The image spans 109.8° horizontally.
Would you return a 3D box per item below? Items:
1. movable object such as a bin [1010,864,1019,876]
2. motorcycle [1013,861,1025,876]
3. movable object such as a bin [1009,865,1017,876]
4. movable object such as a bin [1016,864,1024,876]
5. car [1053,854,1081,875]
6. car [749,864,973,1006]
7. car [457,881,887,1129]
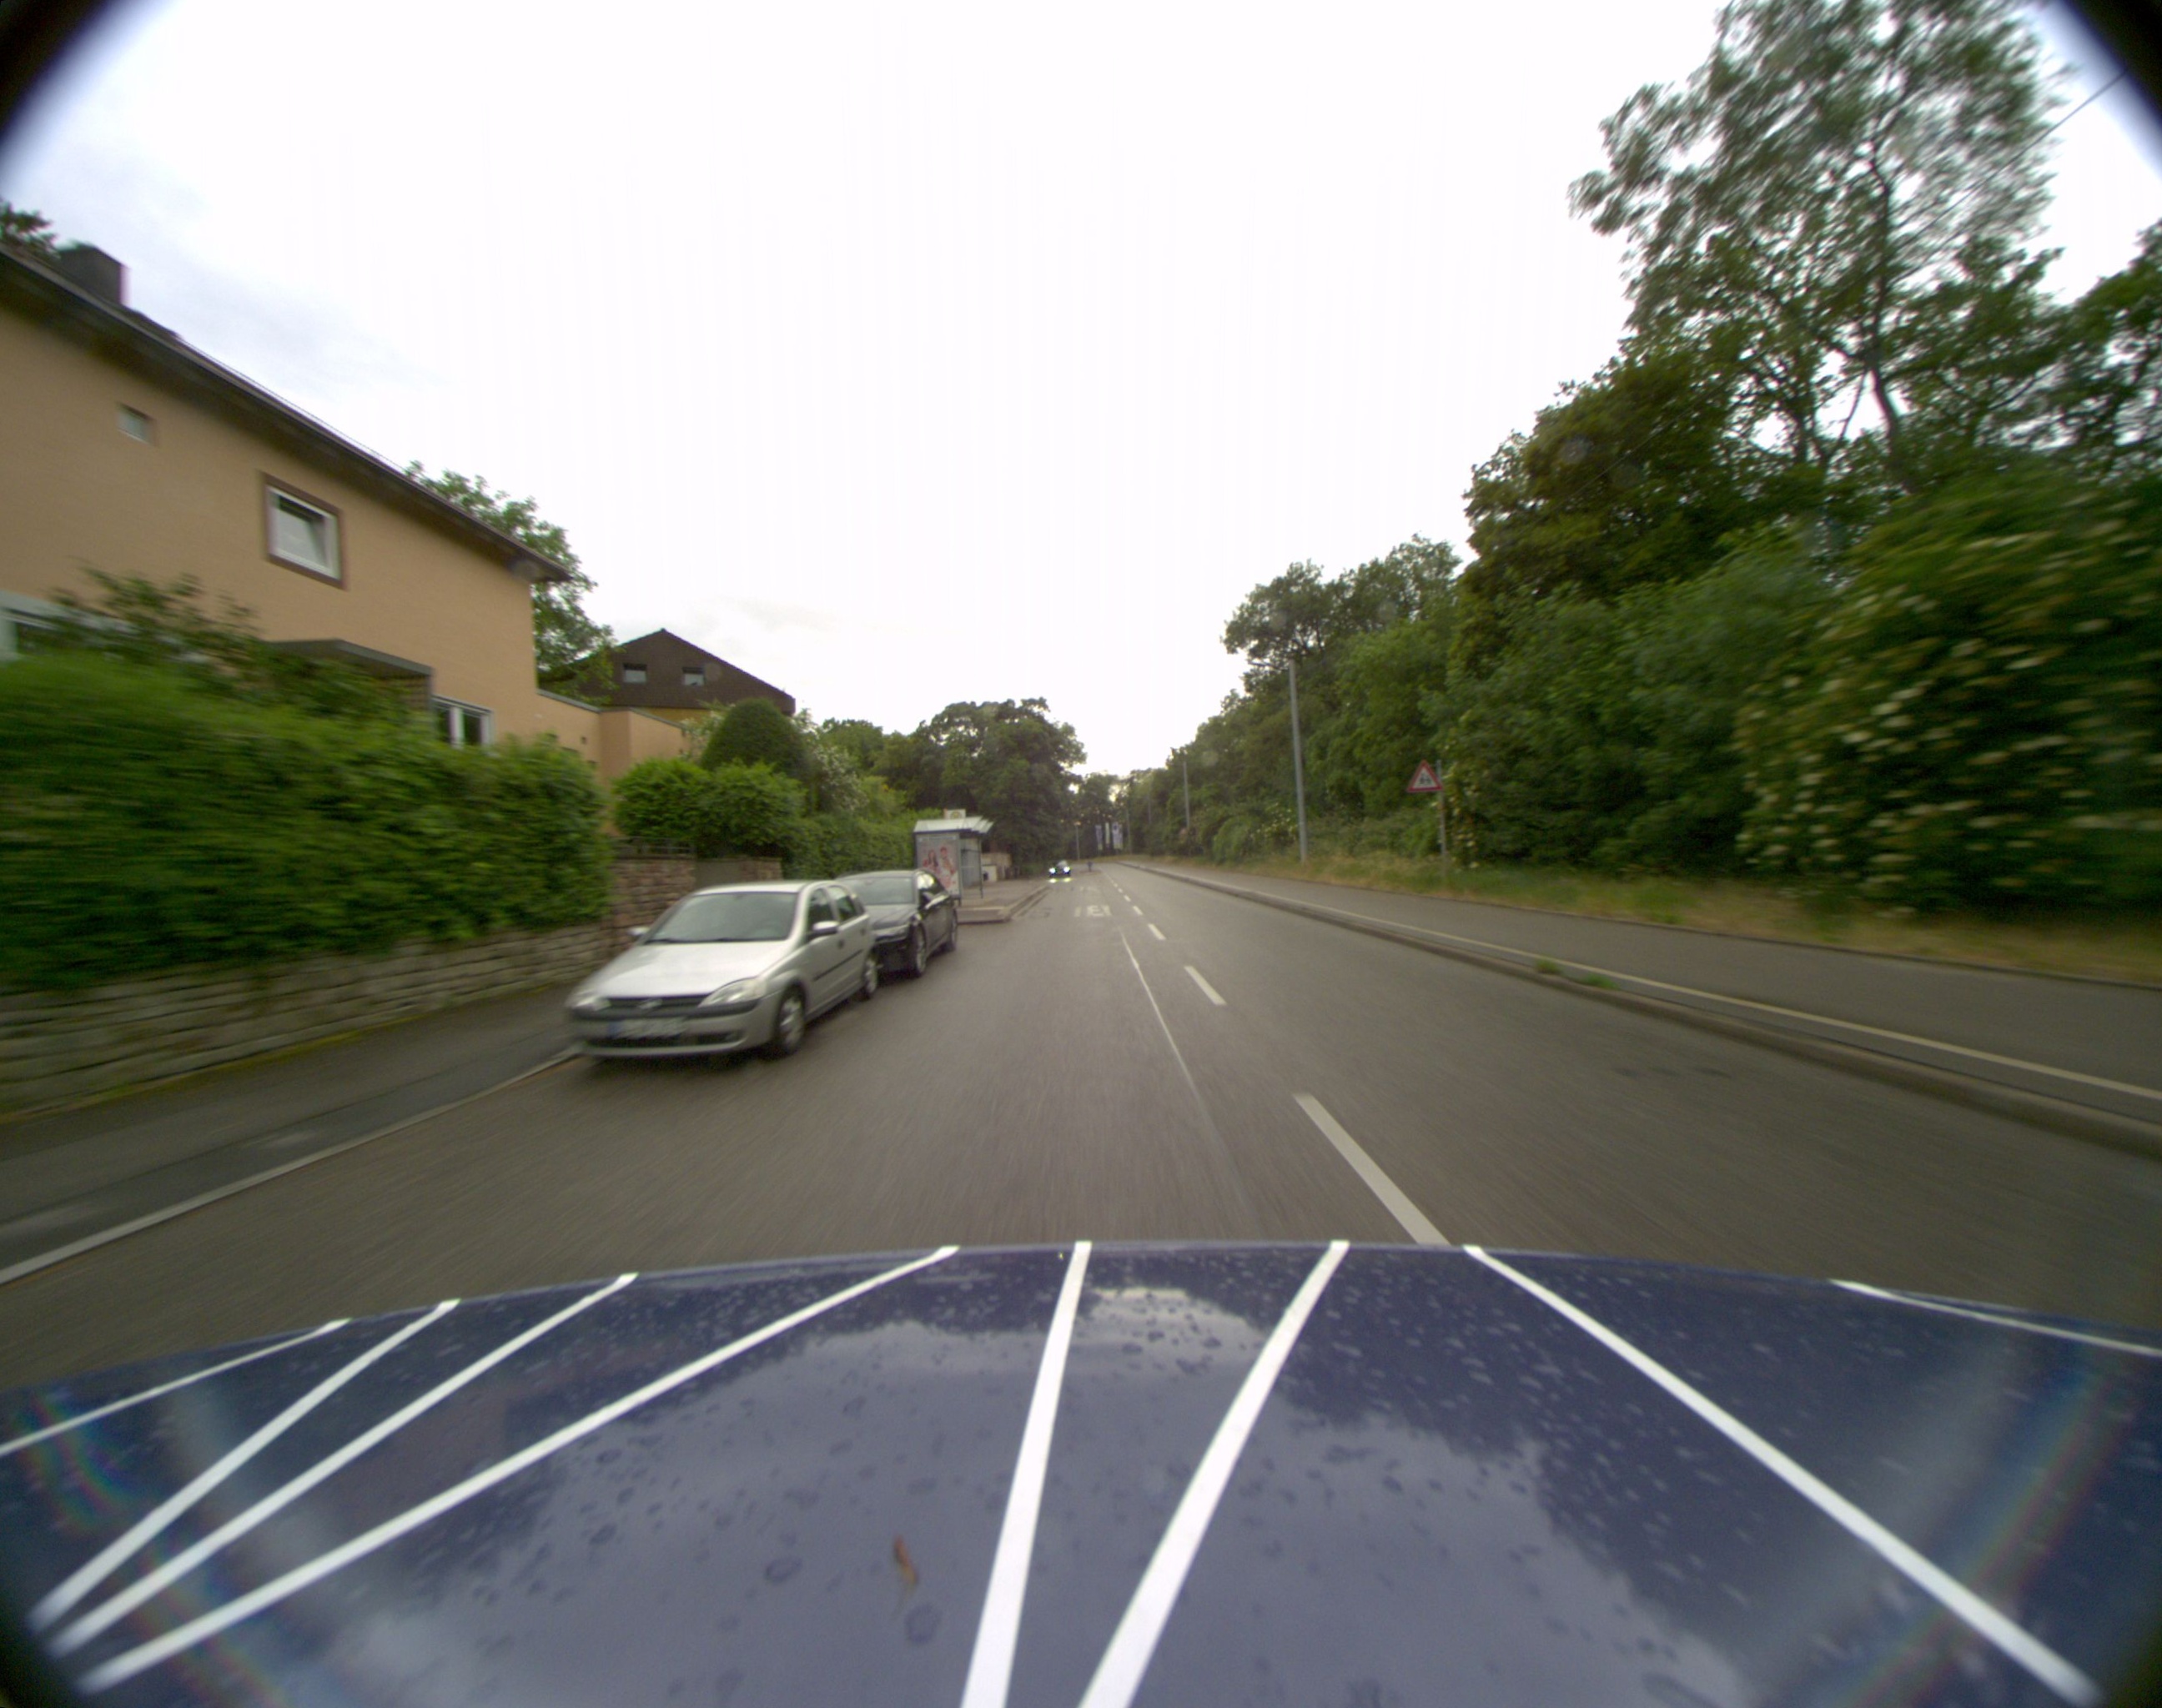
[{"bbox_3d":[-5.968,1.420,68.175,0.666,0.999,0.659,-4,0,1],"label":"movable object such as a bin"},{"bbox_3d":[-5.719,1.314,69.769,0.777,1.237,2.013,-4,0,1],"label":"motorcycle"},{"bbox_3d":[-6.045,1.473,67.435,0.570,0.931,0.549,-4,0,1],"label":"movable object such as a bin"},{"bbox_3d":[-5.873,1.522,73.301,0.666,1.062,0.701,-4,0,1],"label":"movable object such as a bin"},{"bbox_3d":[-1.162,0.874,64.645,1.998,1.714,4.001,-2,0,4],"label":"car"},{"bbox_3d":[-3.039,1.034,11.665,1.834,1.538,4.630,-2,1,3],"label":"car"},{"bbox_3d":[-3.281,1.098,7.197,1.817,1.390,4.101,-2,1,-1],"label":"car"}]
